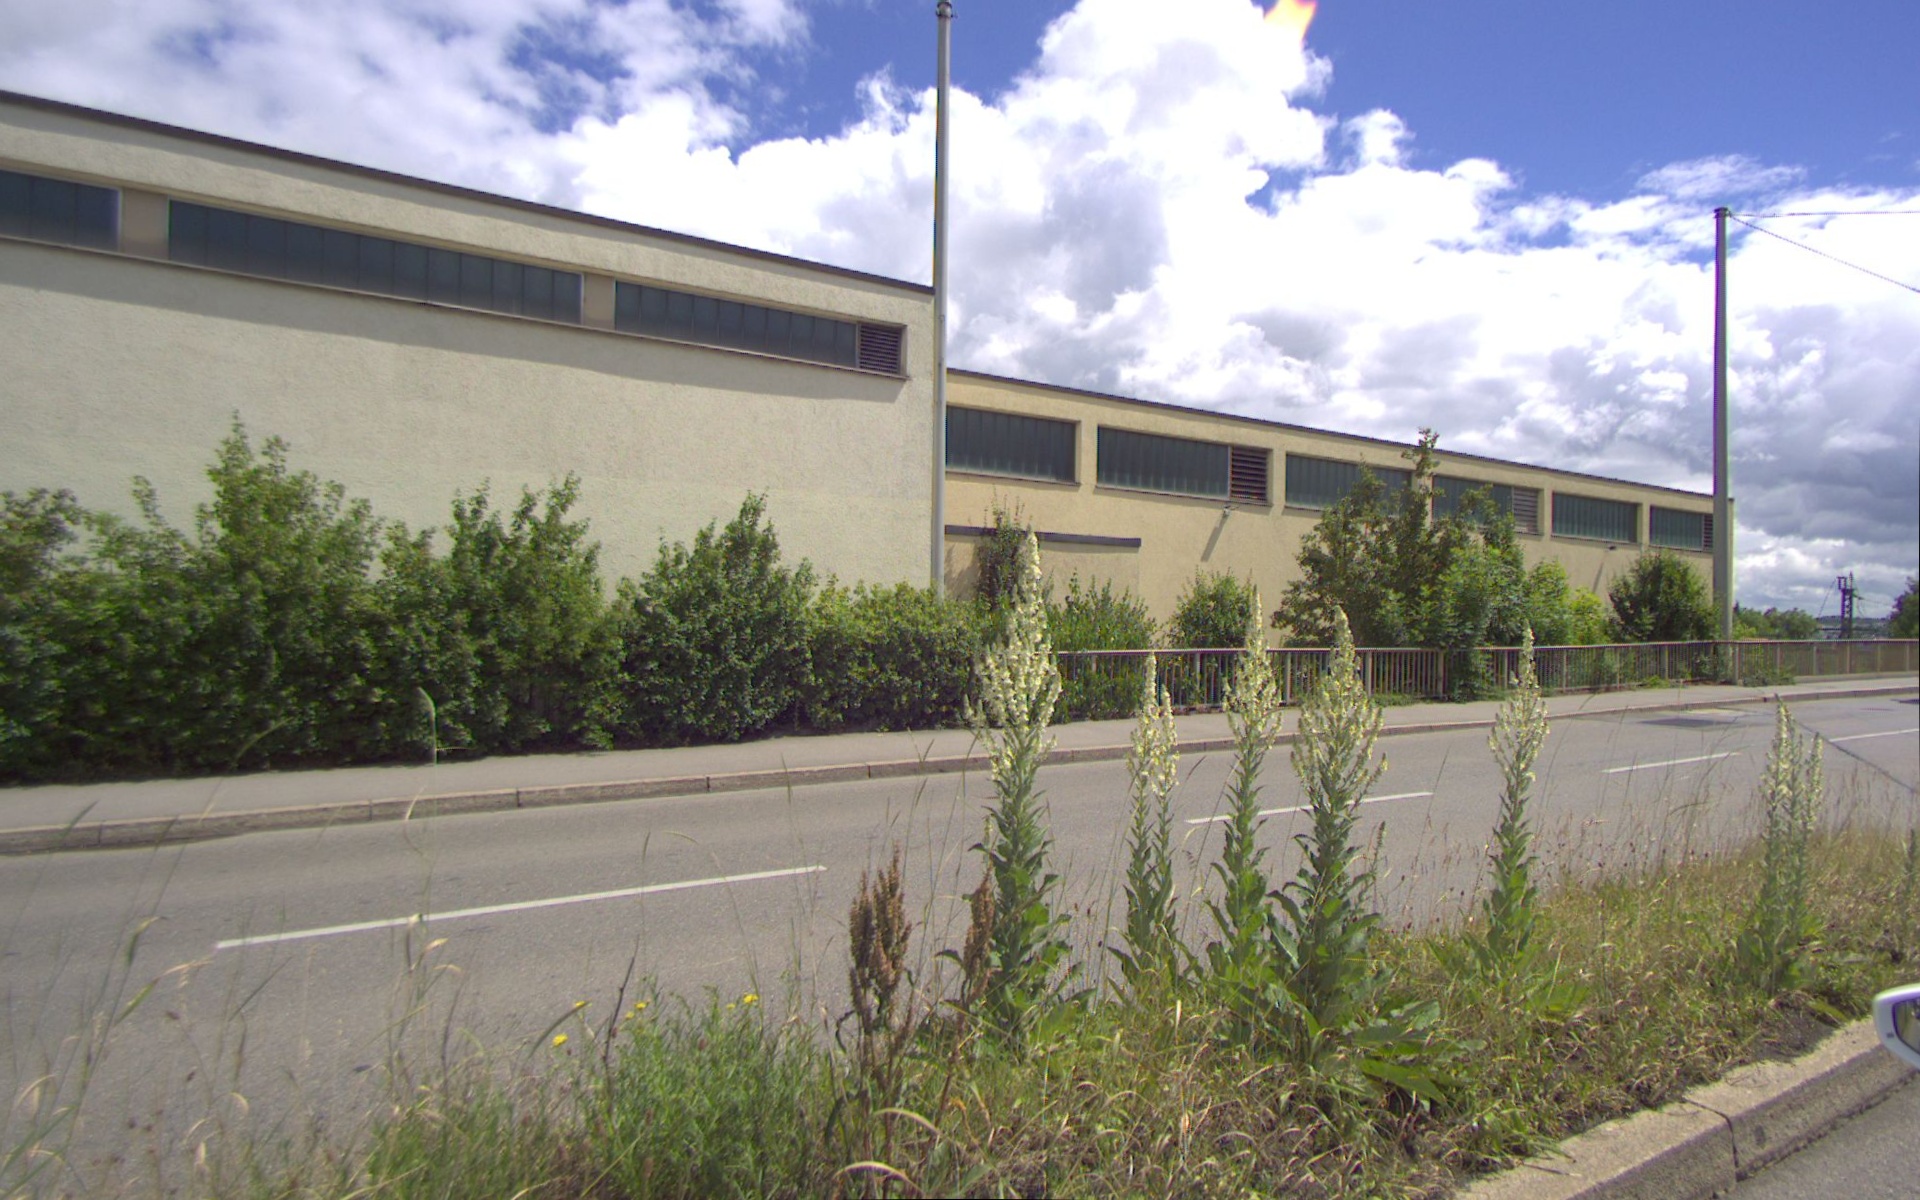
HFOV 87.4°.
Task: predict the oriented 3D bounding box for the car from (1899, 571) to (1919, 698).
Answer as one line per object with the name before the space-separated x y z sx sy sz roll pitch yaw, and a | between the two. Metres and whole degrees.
car | 22.898 0.745 21.648 6.742 2.605 2.057 1 -2 -31
